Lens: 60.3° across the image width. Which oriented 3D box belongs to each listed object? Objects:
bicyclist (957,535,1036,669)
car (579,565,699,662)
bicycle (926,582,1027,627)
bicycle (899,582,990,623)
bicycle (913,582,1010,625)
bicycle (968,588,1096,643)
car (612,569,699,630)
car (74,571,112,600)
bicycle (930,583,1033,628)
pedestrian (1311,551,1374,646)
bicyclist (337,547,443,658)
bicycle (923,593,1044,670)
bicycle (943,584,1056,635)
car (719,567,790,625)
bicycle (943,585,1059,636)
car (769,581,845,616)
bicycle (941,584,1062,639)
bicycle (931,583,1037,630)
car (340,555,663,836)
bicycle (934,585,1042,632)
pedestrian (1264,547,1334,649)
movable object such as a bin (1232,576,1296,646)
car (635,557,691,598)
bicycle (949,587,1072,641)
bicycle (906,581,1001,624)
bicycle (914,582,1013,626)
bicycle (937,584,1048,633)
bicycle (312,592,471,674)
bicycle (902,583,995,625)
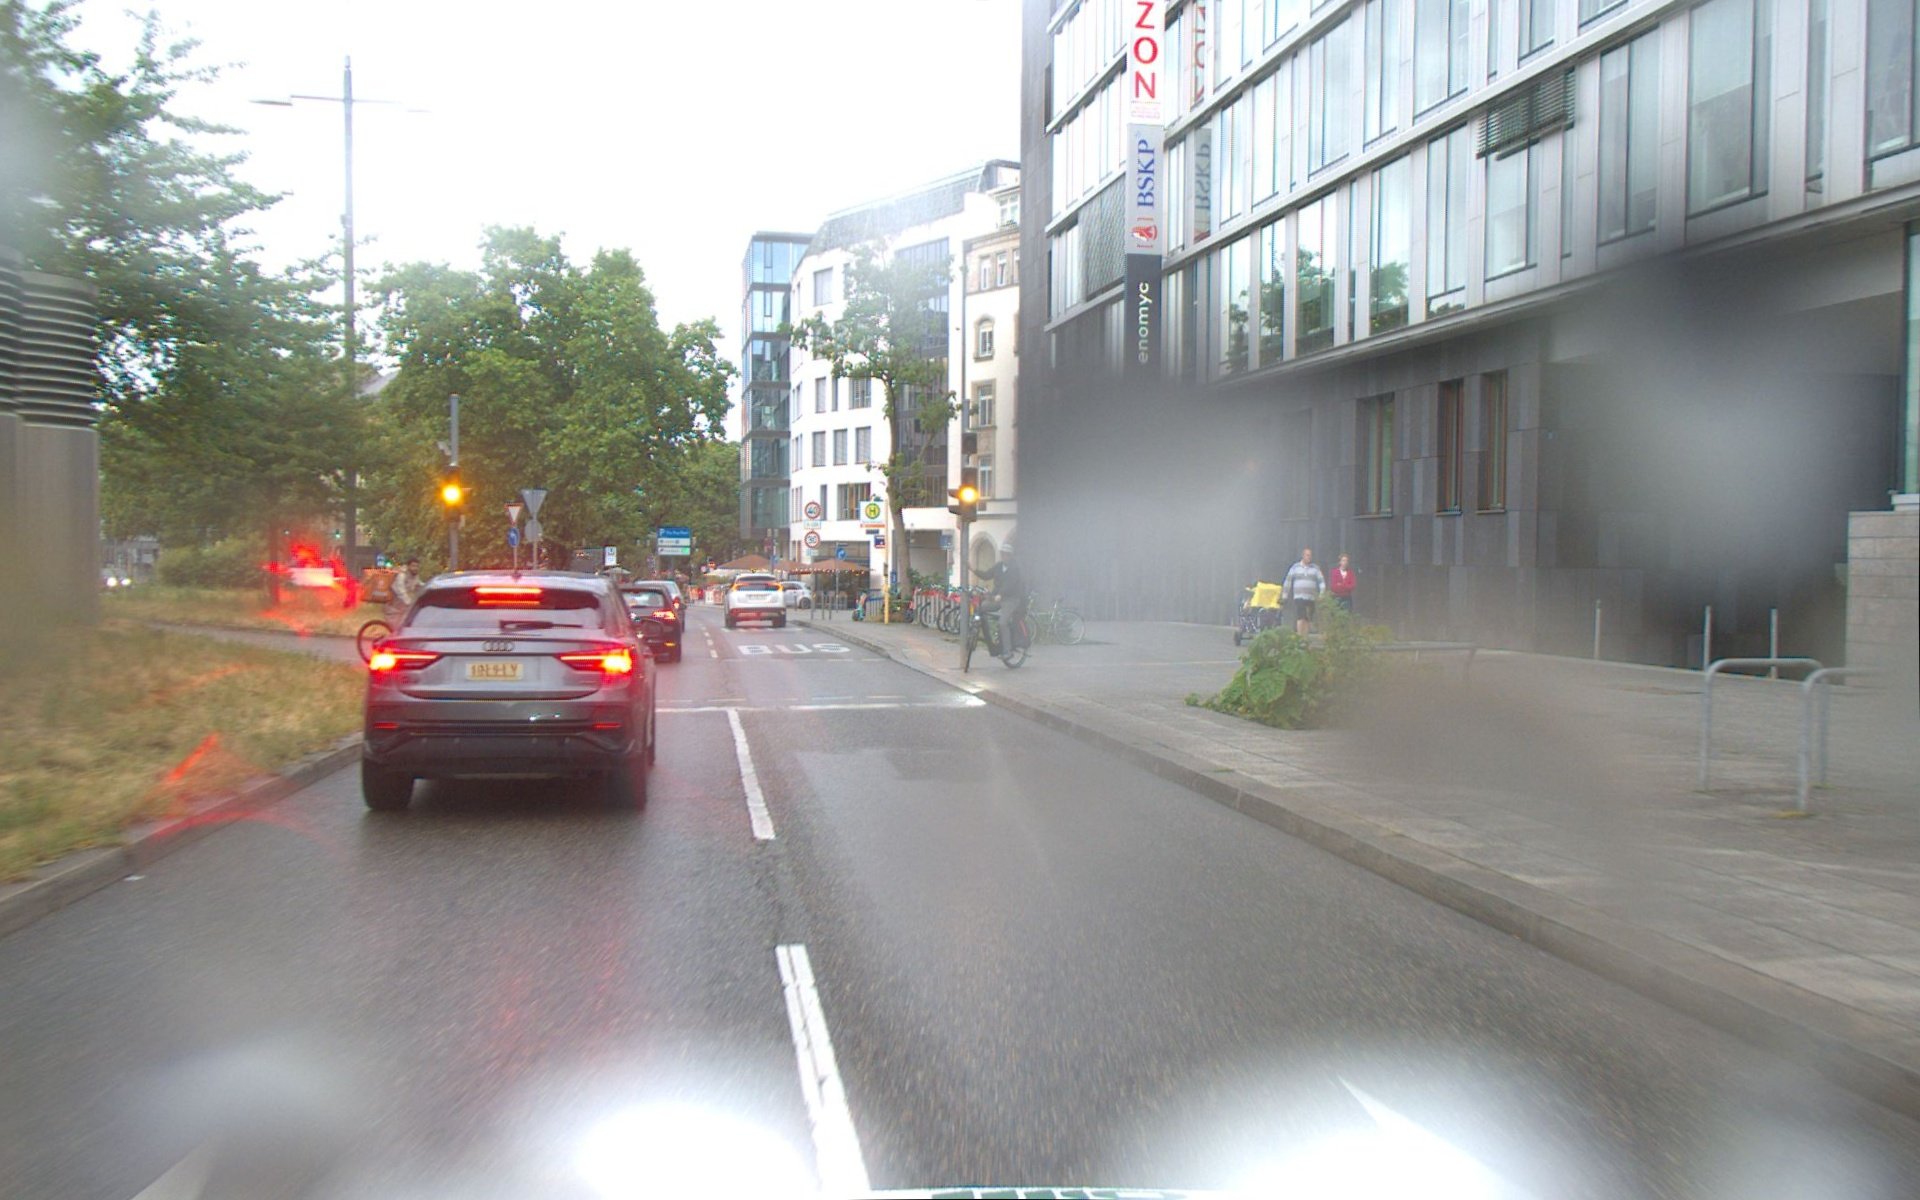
[{"bbox_3d":[0.590,0.022,26.720,0.749,2.119,1.079,0,0,41],"label":"bicyclist"},{"bbox_3d":[-6.168,0.217,32.074,2.123,1.735,4.543,0,1,-10],"label":"car"},{"bbox_3d":[0.418,0.115,42.368,2.491,1.106,0.675,-1,0,-12],"label":"bicycle"},{"bbox_3d":[-0.434,0.064,46.239,2.491,1.106,0.626,-1,0,-12],"label":"bicycle"},{"bbox_3d":[0.036,0.080,43.923,2.491,1.106,0.675,-1,0,-12],"label":"bicycle"},{"bbox_3d":[1.447,0.304,33.318,2.491,1.075,0.675,0,1,-12],"label":"bicycle"},{"bbox_3d":[-8.779,-0.049,47.449,1.915,1.675,4.223,0,1,-18],"label":"car"},{"bbox_3d":[-48.877,-0.829,93.288,1.783,1.512,3.965,2,0,-27],"label":"car"},{"bbox_3d":[0.541,0.128,41.399,2.491,1.106,0.675,-1,0,-12],"label":"bicycle"},{"bbox_3d":[7.124,-0.041,30.853,0.705,1.719,1.097,-2,1,-12],"label":"pedestrian"},{"bbox_3d":[-8.713,0.038,25.306,1.108,1.610,1.016,3,0,12],"label":"bicyclist"},{"bbox_3d":[0.398,0.484,26.486,0.749,1.165,2.121,0,0,41],"label":"bicycle"},{"bbox_3d":[0.904,0.206,37.639,2.491,1.106,0.675,-1,0,-12],"label":"bicycle"},{"bbox_3d":[-6.470,-0.154,51.836,2.138,1.730,3.993,0,1,-8],"label":"car"},{"bbox_3d":[0.905,0.225,36.779,2.491,1.106,0.675,-1,1,-12],"label":"bicycle"},{"bbox_3d":[-8.594,-0.087,92.795,3.920,1.675,1.993,4,0,-14],"label":"car"},{"bbox_3d":[0.890,0.250,35.545,2.491,1.106,0.675,2,0,-12],"label":"bicycle"},{"bbox_3d":[0.588,0.158,40.201,2.491,1.106,0.675,-1,0,-12],"label":"bicycle"},{"bbox_3d":[-3.082,0.516,11.912,1.814,1.644,4.243,1,1,-10],"label":"car"},{"bbox_3d":[0.663,0.184,39.296,2.491,1.078,0.675,-1,0,-12],"label":"bicycle"},{"bbox_3d":[6.256,-0.044,30.553,0.884,1.823,1.044,-2,1,-12],"label":"pedestrian"},{"bbox_3d":[5.843,0.190,31.851,0.718,1.286,1.441,-2,1,-9],"label":"movable object such as a bin"},{"bbox_3d":[-12.723,-0.963,70.770,1.914,1.675,3.982,0,1,-17],"label":"car"},{"bbox_3d":[1.057,0.289,34.757,2.491,1.106,0.675,0,1,-12],"label":"bicycle"},{"bbox_3d":[-0.186,0.059,44.790,2.491,1.106,0.675,-1,0,-12],"label":"bicycle"},{"bbox_3d":[0.088,0.106,43.173,2.491,1.106,0.675,-1,0,-12],"label":"bicycle"},{"bbox_3d":[0.756,0.193,38.436,2.491,1.106,0.675,-1,0,-12],"label":"bicycle"},{"bbox_3d":[-8.685,0.492,25.304,2.017,1.133,1.012,3,0,13],"label":"bicycle"},{"bbox_3d":[-0.317,0.104,45.527,2.491,1.106,0.675,-1,0,-12],"label":"bicycle"}]
